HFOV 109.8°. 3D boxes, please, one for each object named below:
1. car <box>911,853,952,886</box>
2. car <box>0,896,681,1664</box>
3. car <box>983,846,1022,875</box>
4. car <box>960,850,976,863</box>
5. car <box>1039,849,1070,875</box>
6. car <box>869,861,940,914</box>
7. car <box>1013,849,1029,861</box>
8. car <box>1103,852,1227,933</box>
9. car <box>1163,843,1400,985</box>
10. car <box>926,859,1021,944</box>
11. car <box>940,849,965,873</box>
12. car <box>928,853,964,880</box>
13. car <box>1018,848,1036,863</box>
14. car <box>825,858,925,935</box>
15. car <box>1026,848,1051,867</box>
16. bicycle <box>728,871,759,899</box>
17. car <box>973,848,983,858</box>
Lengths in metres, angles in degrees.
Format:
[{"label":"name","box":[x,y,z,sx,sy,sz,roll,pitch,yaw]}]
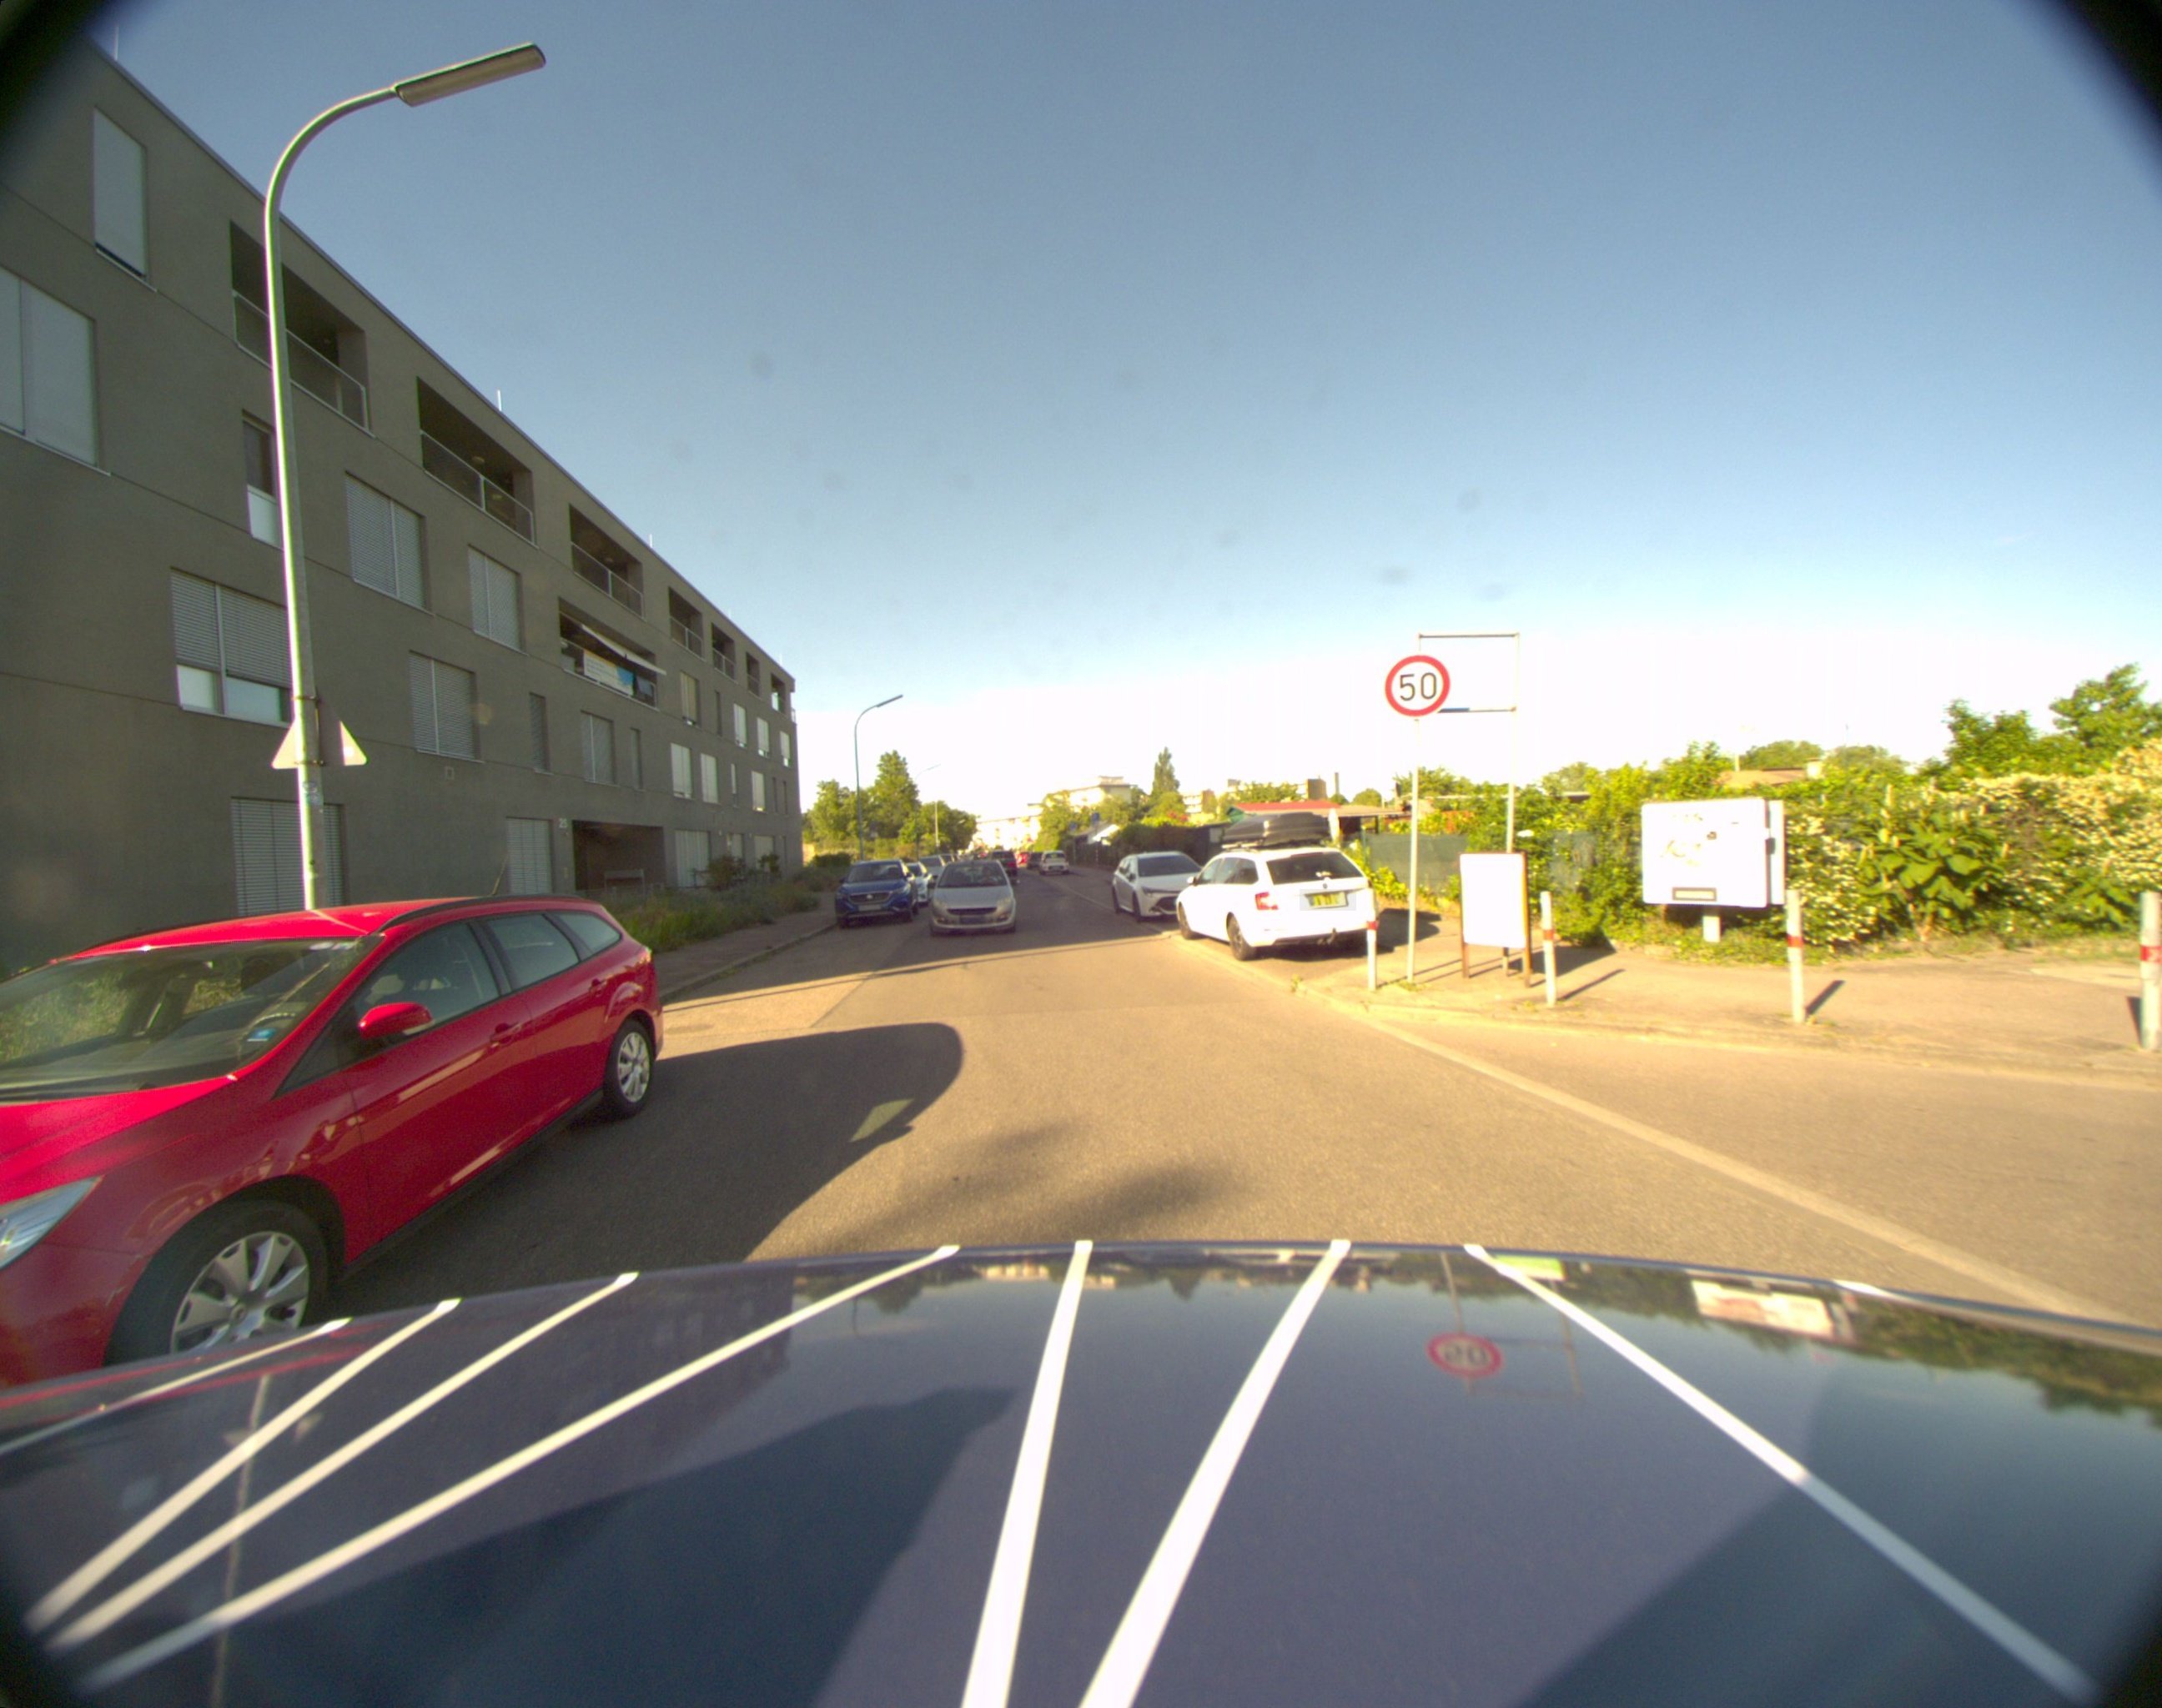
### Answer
[{"label":"car","box":[-7.937,0.792,40.743,1.712,1.517,4.152,-4,1,-6]},{"label":"car","box":[-3.579,1.111,3.209,1.824,1.491,4.448,-3,1,-8]},{"label":"car","box":[-5.217,0.423,49.876,1.949,1.717,4.833,-2,1,-13]},{"label":"car","box":[-14.820,0.312,100.094,1.874,1.517,4.152,-3,1,-6]},{"label":"car","box":[-1.670,0.472,46.833,1.532,1.479,3.399,-3,1,-7]},{"label":"car","box":[-5.936,1.068,26.022,1.750,1.421,4.582,-5,1,-6]},{"label":"car","box":[-7.257,0.108,92.316,1.701,1.361,3.907,-3,1,-7]},{"label":"car","box":[1.779,0.775,17.602,1.752,1.437,4.538,-6,1,-7]},{"label":"car","box":[2.629,0.705,11.221,1.701,1.505,4.514,-5,1,-7]},{"label":"car","box":[-2.366,0.895,16.126,1.680,1.440,3.996,-3,1,-11]},{"label":"car","box":[-10.104,0.540,60.018,1.712,1.696,4.346,-5,1,-8]},{"label":"car","box":[-8.786,0.774,49.736,1.750,1.558,4.800,-4,1,-5]},{"label":"car","box":[-5.893,0.142,82.343,1.701,1.421,4.382,-3,1,-7]},{"label":"car","box":[-5.236,0.995,19.918,1.822,1.590,4.623,-5,1,-8]},{"label":"car","box":[-3.611,0.236,64.379,1.701,1.415,4.513,-5,1,-7]},{"label":"bicycle","box":[-14.504,1.321,32.692,0.553,1.055,1.841,-3,1,-3]},{"label":"car","box":[-20.918,-0.229,154.295,2.000,2.002,3.997,-3,1,-7]}]
